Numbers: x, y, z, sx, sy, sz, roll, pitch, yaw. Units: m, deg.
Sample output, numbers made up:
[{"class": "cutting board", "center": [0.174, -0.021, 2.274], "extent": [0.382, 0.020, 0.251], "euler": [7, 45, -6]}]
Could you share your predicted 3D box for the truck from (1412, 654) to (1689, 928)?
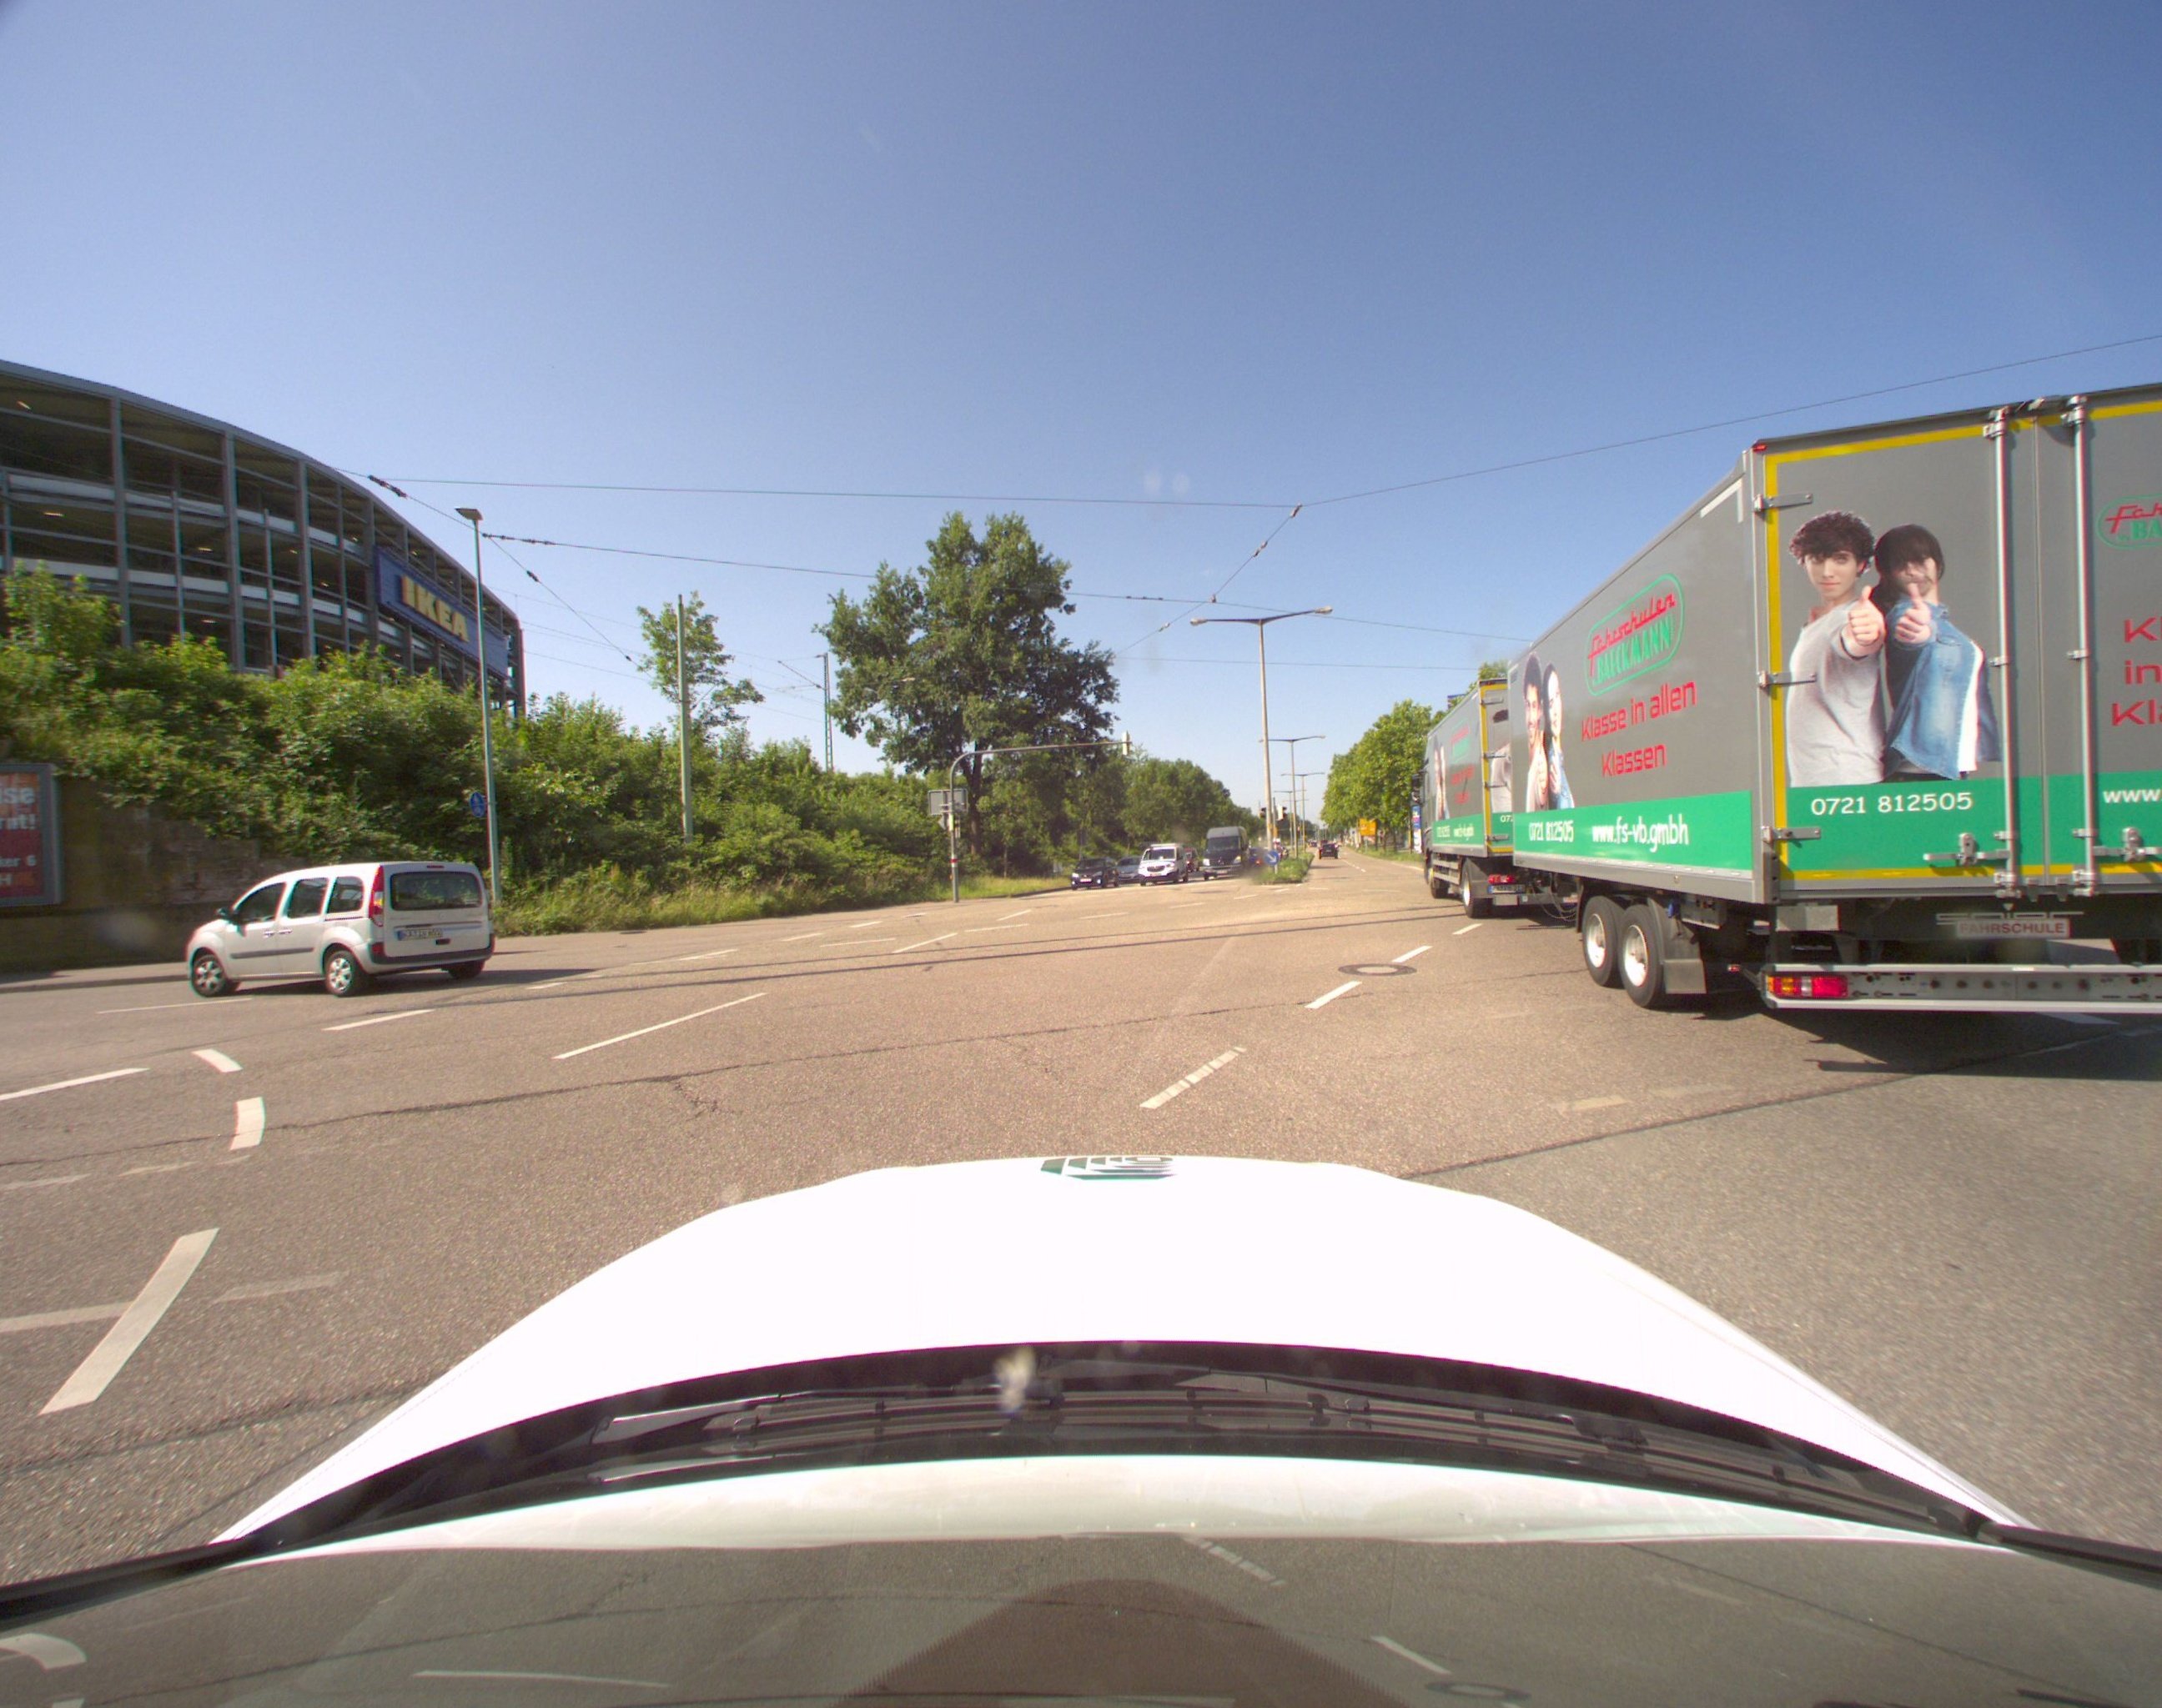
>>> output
[{"class": "truck", "center": [8.506, -0.867, 16.103], "extent": [2.708, 3.889, 8.760], "euler": [-1, 0, 17]}]

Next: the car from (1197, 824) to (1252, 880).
[{"class": "car", "center": [7.308, -0.084, 41.073], "extent": [1.978, 2.607, 5.156], "euler": [-2, -1, 17]}]

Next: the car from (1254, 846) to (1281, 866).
[{"class": "car", "center": [16.085, 0.173, 70.184], "extent": [1.978, 1.640, 4.017], "euler": [0, 0, 16]}]

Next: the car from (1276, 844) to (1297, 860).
[{"class": "car", "center": [21.823, -0.236, 86.541], "extent": [1.978, 1.640, 4.017], "euler": [0, 0, 16]}]

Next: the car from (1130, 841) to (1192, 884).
[{"class": "car", "center": [3.918, 0.370, 38.939], "extent": [1.978, 1.870, 4.795], "euler": [-2, -1, 17]}]

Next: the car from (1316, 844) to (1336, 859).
[{"class": "car", "center": [25.948, -0.284, 86.094], "extent": [1.978, 1.585, 4.476], "euler": [0, 0, 17]}]

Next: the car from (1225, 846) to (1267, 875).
[{"class": "car", "center": [9.804, 0.365, 48.147], "extent": [1.978, 1.585, 4.018], "euler": [-3, -1, 17]}]

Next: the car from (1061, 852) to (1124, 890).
[{"class": "car", "center": [0.605, 0.759, 38.245], "extent": [1.896, 1.641, 3.754], "euler": [-2, -1, 17]}]

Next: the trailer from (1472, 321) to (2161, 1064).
[{"class": "trailer", "center": [6.163, -0.837, 8.131], "extent": [2.715, 3.877, 7.768], "euler": [-2, 0, 16]}]

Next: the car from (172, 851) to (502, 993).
[{"class": "car", "center": [-10.885, 0.976, 11.971], "extent": [3.955, 1.838, 1.800], "euler": [-3, -1, 18]}]

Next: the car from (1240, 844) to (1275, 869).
[{"class": "car", "center": [11.981, 0.161, 55.194], "extent": [1.978, 1.585, 4.018], "euler": [0, 0, 17]}]

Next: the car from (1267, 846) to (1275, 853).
[{"class": "car", "center": [51.586, -1.194, 221.601], "extent": [1.874, 2.013, 4.017], "euler": [0, 0, 16]}]

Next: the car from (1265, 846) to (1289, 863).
[{"class": "car", "center": [18.357, 0.049, 76.128], "extent": [1.978, 1.585, 4.018], "euler": [0, 0, 17]}]

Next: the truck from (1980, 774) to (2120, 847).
[{"class": "truck", "center": [44.879, -1.917, 37.689], "extent": [6.968, 3.135, 2.282], "euler": [0, 0, -23]}]

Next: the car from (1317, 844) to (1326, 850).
[{"class": "car", "center": [58.432, -1.695, 197.601], "extent": [1.978, 1.585, 4.476], "euler": [0, 0, 17]}]

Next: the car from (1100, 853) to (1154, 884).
[{"class": "car", "center": [2.609, 0.761, 45.155], "extent": [1.978, 1.540, 4.255], "euler": [-2, -1, 17]}]

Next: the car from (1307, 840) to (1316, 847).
[{"class": "car", "center": [56.052, -2.630, 197.969], "extent": [1.978, 1.585, 4.476], "euler": [0, 0, 17]}]

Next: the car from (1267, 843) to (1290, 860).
[{"class": "car", "center": [19.676, -0.216, 81.101], "extent": [1.978, 1.640, 4.017], "euler": [0, 0, 16]}]

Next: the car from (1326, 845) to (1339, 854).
[{"class": "car", "center": [43.112, -0.769, 139.649], "extent": [1.978, 1.585, 4.476], "euler": [0, 0, 17]}]

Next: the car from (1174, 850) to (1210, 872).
[{"class": "car", "center": [8.508, 0.523, 62.031], "extent": [1.978, 1.585, 4.476], "euler": [0, 0, 17]}]

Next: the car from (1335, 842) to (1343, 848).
[{"class": "car", "center": [64.892, -2.223, 204.798], "extent": [1.978, 1.585, 4.476], "euler": [0, 0, 17]}]
